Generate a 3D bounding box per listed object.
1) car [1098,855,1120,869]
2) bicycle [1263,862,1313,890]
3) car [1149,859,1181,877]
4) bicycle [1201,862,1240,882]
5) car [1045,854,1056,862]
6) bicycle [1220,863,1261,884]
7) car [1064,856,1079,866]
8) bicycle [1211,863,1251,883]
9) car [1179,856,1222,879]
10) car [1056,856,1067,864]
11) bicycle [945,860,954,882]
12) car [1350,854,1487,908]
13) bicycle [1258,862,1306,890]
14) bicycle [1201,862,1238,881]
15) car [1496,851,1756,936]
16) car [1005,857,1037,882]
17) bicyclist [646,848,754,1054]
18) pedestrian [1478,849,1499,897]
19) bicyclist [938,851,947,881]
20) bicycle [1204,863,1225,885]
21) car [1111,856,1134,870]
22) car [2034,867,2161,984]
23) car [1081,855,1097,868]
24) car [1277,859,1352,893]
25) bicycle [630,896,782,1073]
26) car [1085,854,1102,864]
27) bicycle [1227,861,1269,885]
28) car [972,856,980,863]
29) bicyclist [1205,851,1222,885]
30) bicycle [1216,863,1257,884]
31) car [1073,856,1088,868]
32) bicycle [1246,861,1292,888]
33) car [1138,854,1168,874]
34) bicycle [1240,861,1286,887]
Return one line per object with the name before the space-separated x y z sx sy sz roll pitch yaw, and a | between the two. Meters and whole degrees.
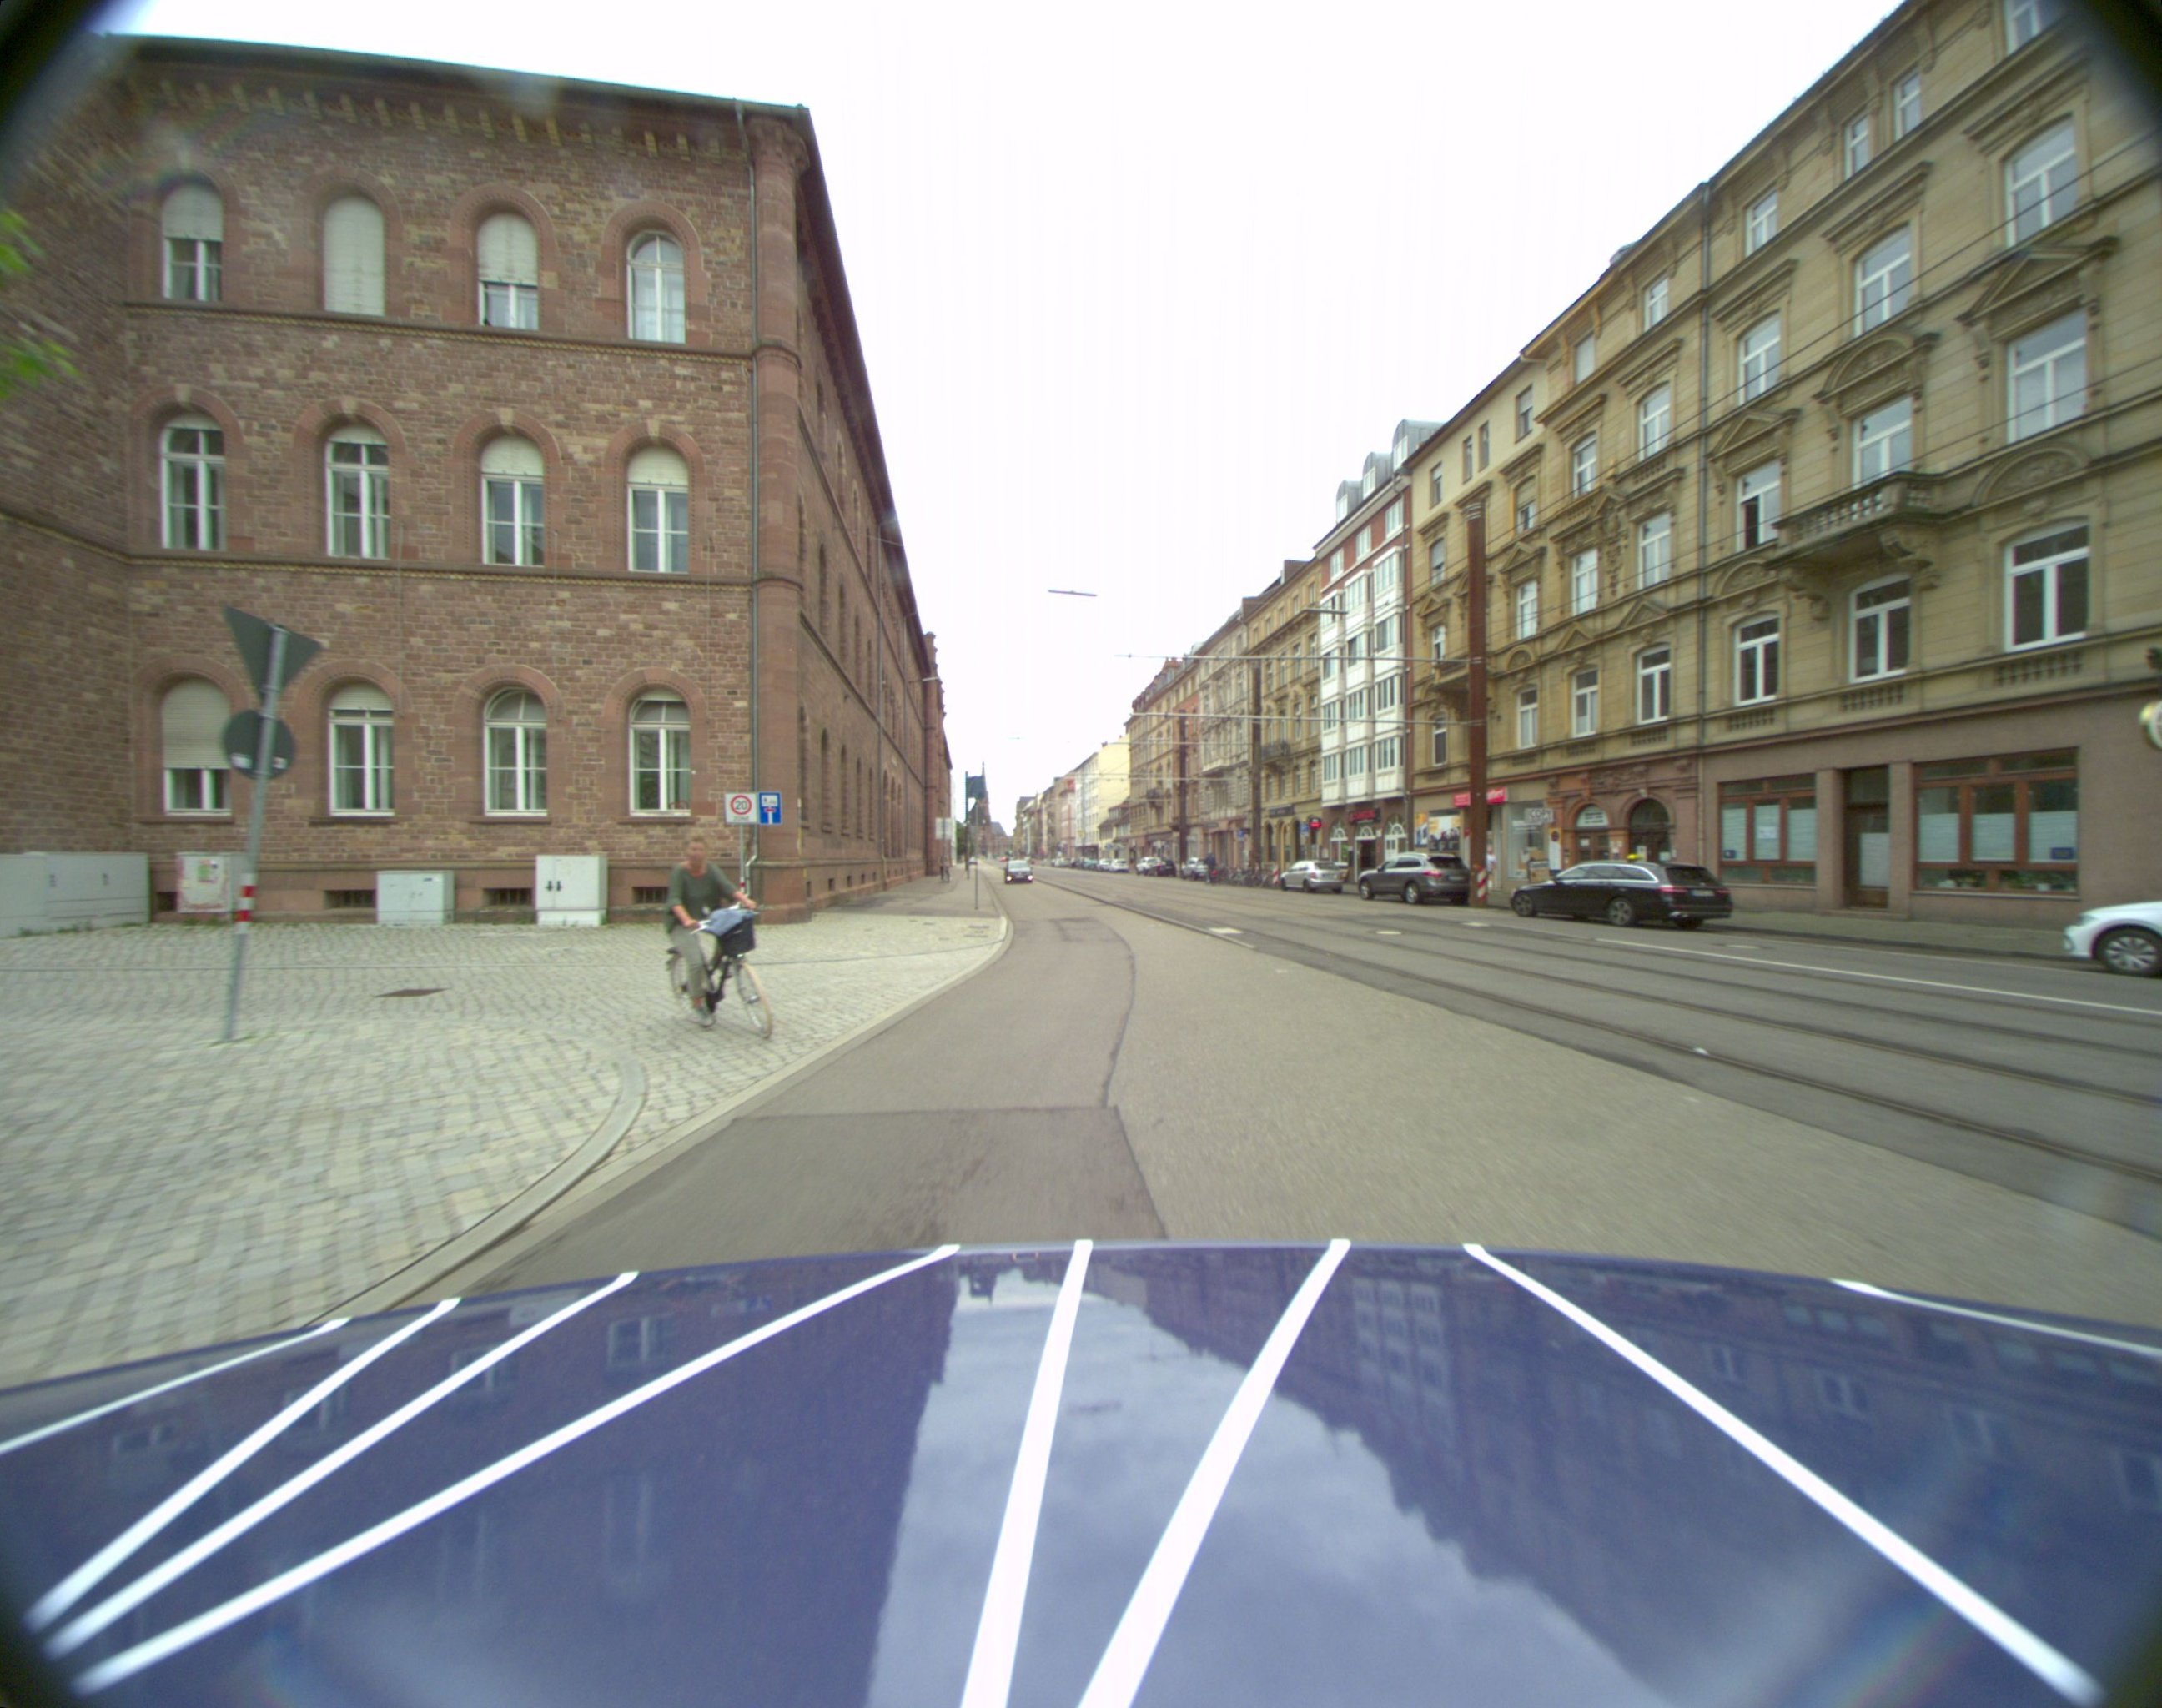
car | 3.153 0.921 86.322 1.830 1.512 4.542 1 -1 -8
bicycle | 10.292 1.094 37.726 2.289 1.321 0.666 1 0 -8
car | 6.910 1.126 62.667 1.749 1.479 3.918 1 0 -7
bicycle | 8.820 1.125 47.939 2.289 1.196 0.704 1 0 -8
car | -6.377 0.895 157.082 1.869 1.553 3.997 1 0 -8
bicycle | 9.474 1.163 45.217 2.289 1.196 0.666 1 0 -8
car | -1.543 1.155 126.776 1.930 1.722 3.824 -1 0 -8
bicycle | 9.223 1.158 46.685 2.289 1.196 0.704 1 0 -8
car | 8.276 0.901 52.799 1.749 1.524 4.222 1 0 -8
car | -3.615 1.056 139.687 1.734 1.335 3.244 -1 0 -8
bicycle | -8.124 1.045 46.933 0.447 1.269 2.225 1 0 -8
car | 11.584 0.871 26.549 1.819 1.680 5.026 1 0 -11
bicycle | 10.147 1.114 38.435 2.289 1.321 0.520 1 0 -8
bicycle | 8.867 1.110 48.636 2.289 1.196 0.547 -1 1 -7
car | 12.442 0.813 17.897 1.926 1.679 5.048 2 0 -9
car | -3.921 0.973 49.167 1.749 1.538 3.647 -1 0 -9
bicyclist | -3.329 0.786 6.634 0.791 1.674 0.572 0 1 43
pedestrian | 15.111 0.698 28.166 0.653 1.772 0.787 -1 1 29
bicyclist | -8.492 0.750 46.633 0.530 1.847 0.450 0 1 -8
bicycle | 7.527 1.106 42.875 0.587 1.167 2.043 1 0 -6
car | 4.423 0.994 81.831 1.749 1.456 4.043 1 0 -8
car | 14.295 0.918 8.506 1.777 1.414 4.161 2 0 -9
car | 1.106 1.090 105.723 1.708 1.746 3.917 1 0 -6
car | 10.584 0.957 34.767 1.749 1.479 3.917 1 0 -9
bicycle | -3.337 1.048 6.665 1.935 1.253 0.526 0 1 43
car | 1.667 0.656 101.001 1.653 1.372 3.433 1 -1 -11
bicycle | 9.652 1.112 43.977 2.289 1.321 0.666 1 0 -8
car | -26.848 1.350 194.714 1.836 1.652 3.997 -1 0 -8
bicyclist | 7.504 0.779 42.922 0.647 1.872 1.028 -1 1 -6
bicycle | 9.374 1.167 45.923 2.289 1.196 0.666 1 0 -8
car | -0.073 1.193 115.816 1.706 1.662 4.178 -1 0 -7
bicycle | 9.970 1.083 40.336 2.289 1.321 0.666 1 0 -8
car | 6.369 0.888 67.347 1.749 1.662 4.043 1 0 -8
bicycle | 9.868 1.079 41.158 2.289 1.321 0.666 1 0 -8
